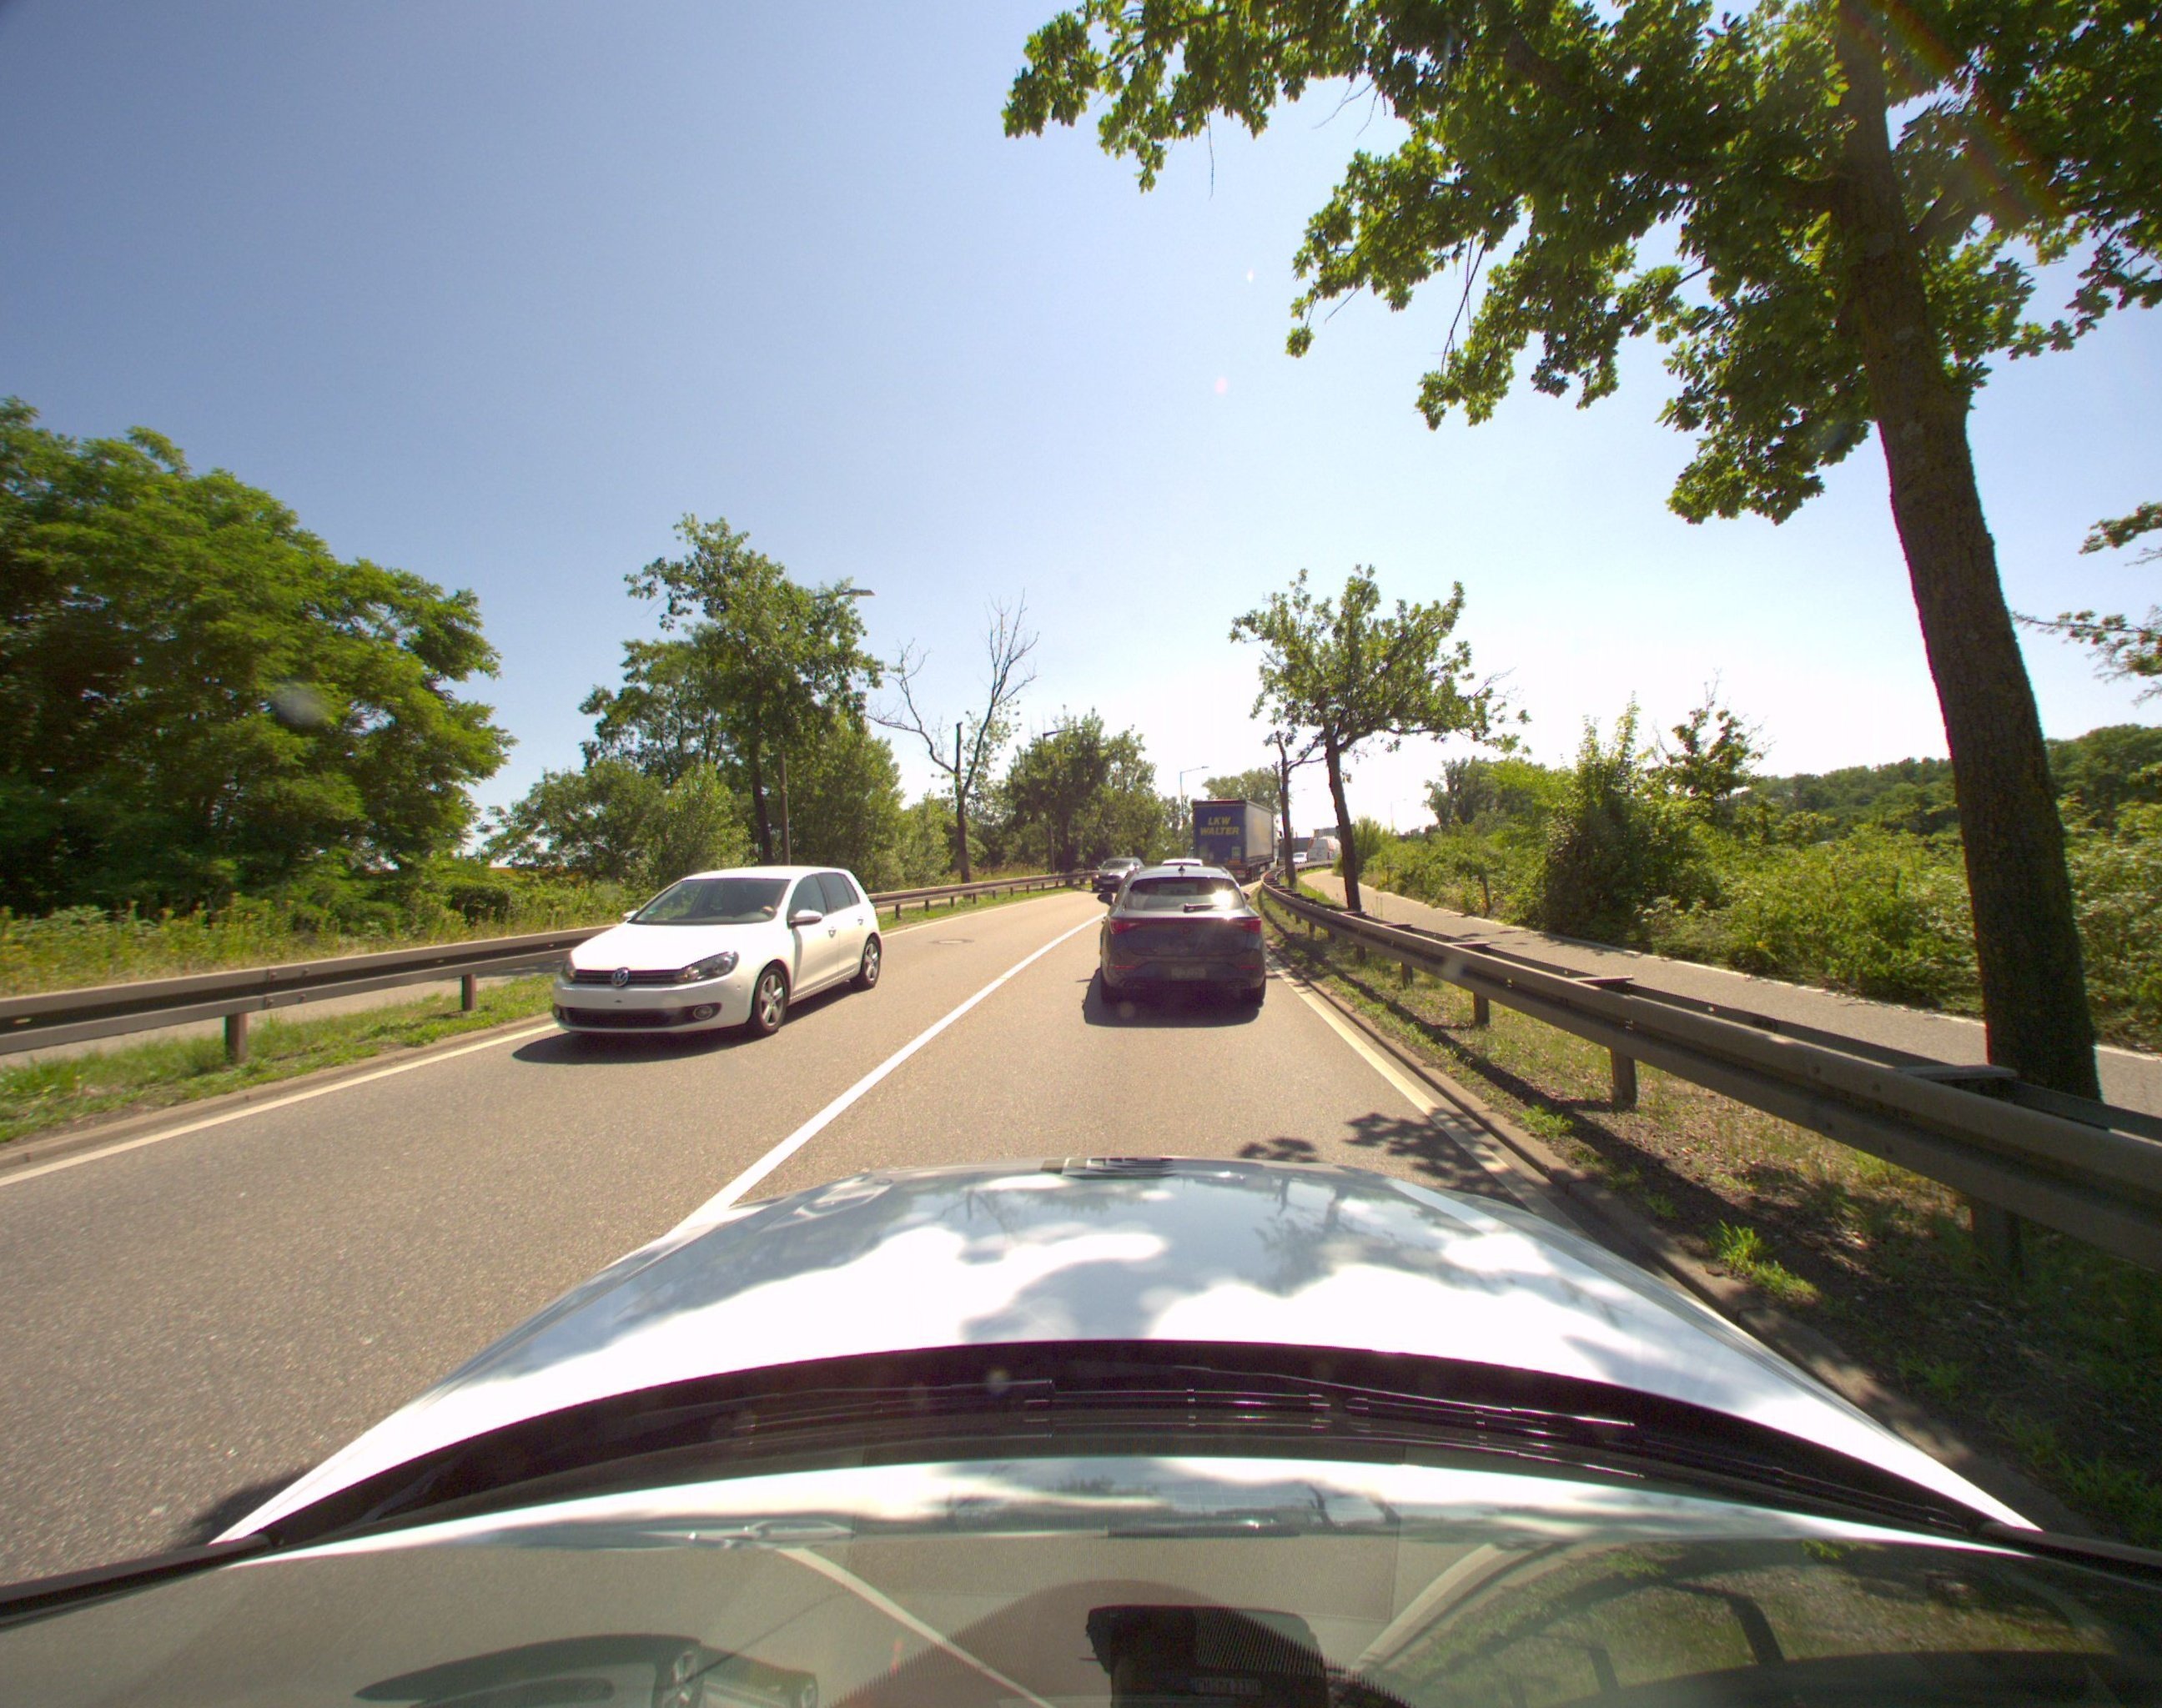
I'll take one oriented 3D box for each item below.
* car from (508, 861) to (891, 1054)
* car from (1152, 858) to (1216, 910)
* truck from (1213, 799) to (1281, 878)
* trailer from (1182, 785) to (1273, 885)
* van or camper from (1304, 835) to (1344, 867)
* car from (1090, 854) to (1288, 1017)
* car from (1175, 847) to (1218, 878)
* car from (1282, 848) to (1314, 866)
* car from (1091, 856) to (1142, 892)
[{"bbox_3d":[-3.428,0.812,8.288,1.716,1.438,4.029,0,0,5],"label":"car"},{"bbox_3d":[3.178,0.848,24.701,1.582,1.461,3.557,0,0,12],"label":"car"},{"bbox_3d":[10.490,-0.858,50.792,3.144,4.585,7.432,-1,-1,19],"label":"truck"},{"bbox_3d":[8.264,-0.871,44.252,3.109,4.614,13.008,0,0,18],"label":"trailer"},{"bbox_3d":[21.820,-0.318,72.846,2.182,2.711,5.962,-2,0,29],"label":"van or camper"},{"bbox_3d":[1.063,0.768,9.560,1.839,1.499,3.759,-1,0,1],"label":"car"},{"bbox_3d":[7.875,0.537,55.076,1.814,1.938,4.800,-1,0,21],"label":"car"},{"bbox_3d":[20.787,0.272,77.933,1.780,1.618,4.026,-1,0,33],"label":"car"},{"bbox_3d":[1.631,0.813,35.693,1.734,1.447,4.527,-1,0,8],"label":"car"}]
